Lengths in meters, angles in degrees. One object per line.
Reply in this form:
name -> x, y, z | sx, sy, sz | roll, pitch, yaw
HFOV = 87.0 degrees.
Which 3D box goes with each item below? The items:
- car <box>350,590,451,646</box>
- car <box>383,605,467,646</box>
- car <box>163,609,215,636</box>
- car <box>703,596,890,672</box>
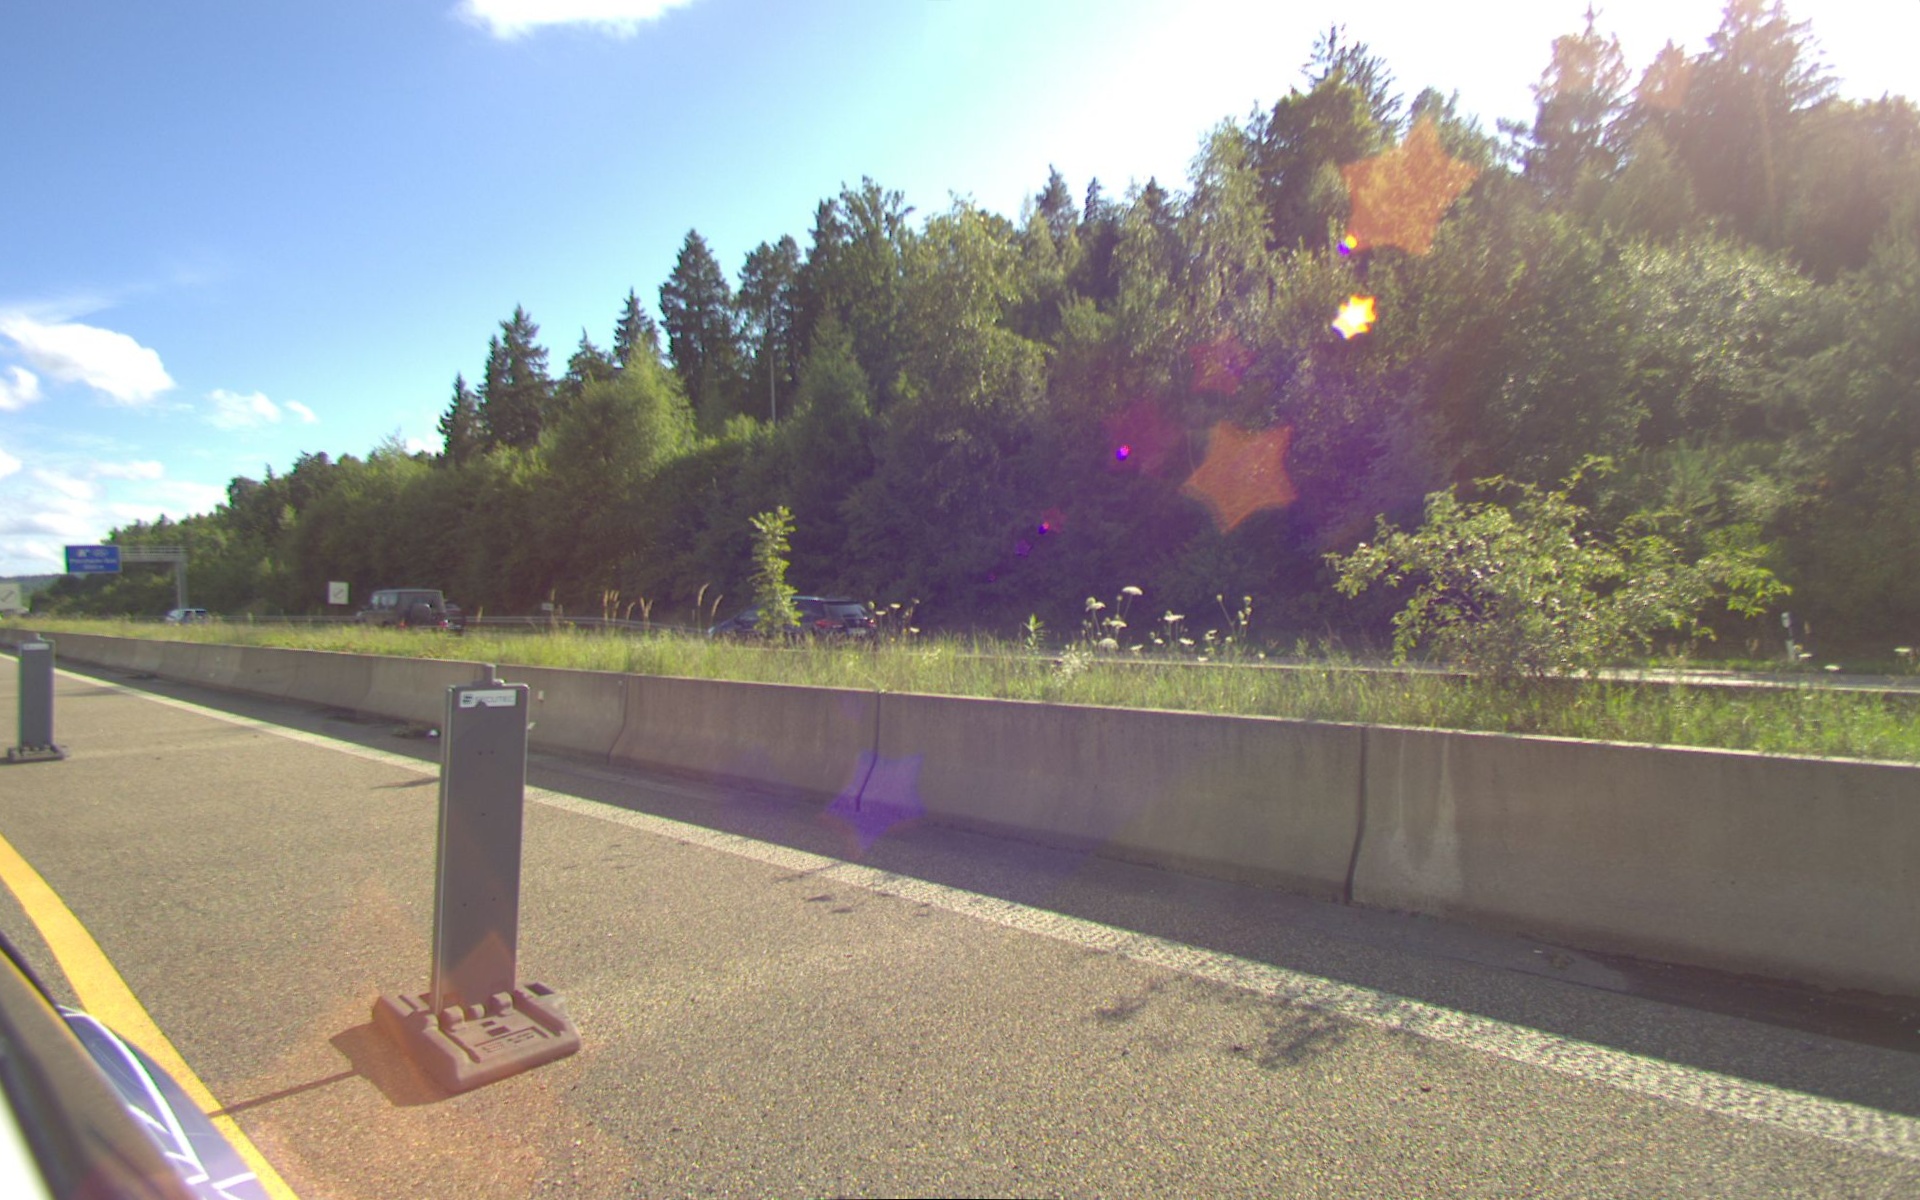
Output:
car -> -20.546, 0.648, 37.097 | 4.615, 1.917, 1.759 | -1, 0, 41
car -> -23.842, 1.088, 45.020 | 4.615, 1.701, 1.759 | -1, 0, 41
car -> -48.626, 1.425, 63.794 | 4.309, 1.614, 1.759 | -1, 0, 41
car -> -3.592, 0.681, 21.836 | 4.102, 1.467, 1.759 | -1, 0, 41
